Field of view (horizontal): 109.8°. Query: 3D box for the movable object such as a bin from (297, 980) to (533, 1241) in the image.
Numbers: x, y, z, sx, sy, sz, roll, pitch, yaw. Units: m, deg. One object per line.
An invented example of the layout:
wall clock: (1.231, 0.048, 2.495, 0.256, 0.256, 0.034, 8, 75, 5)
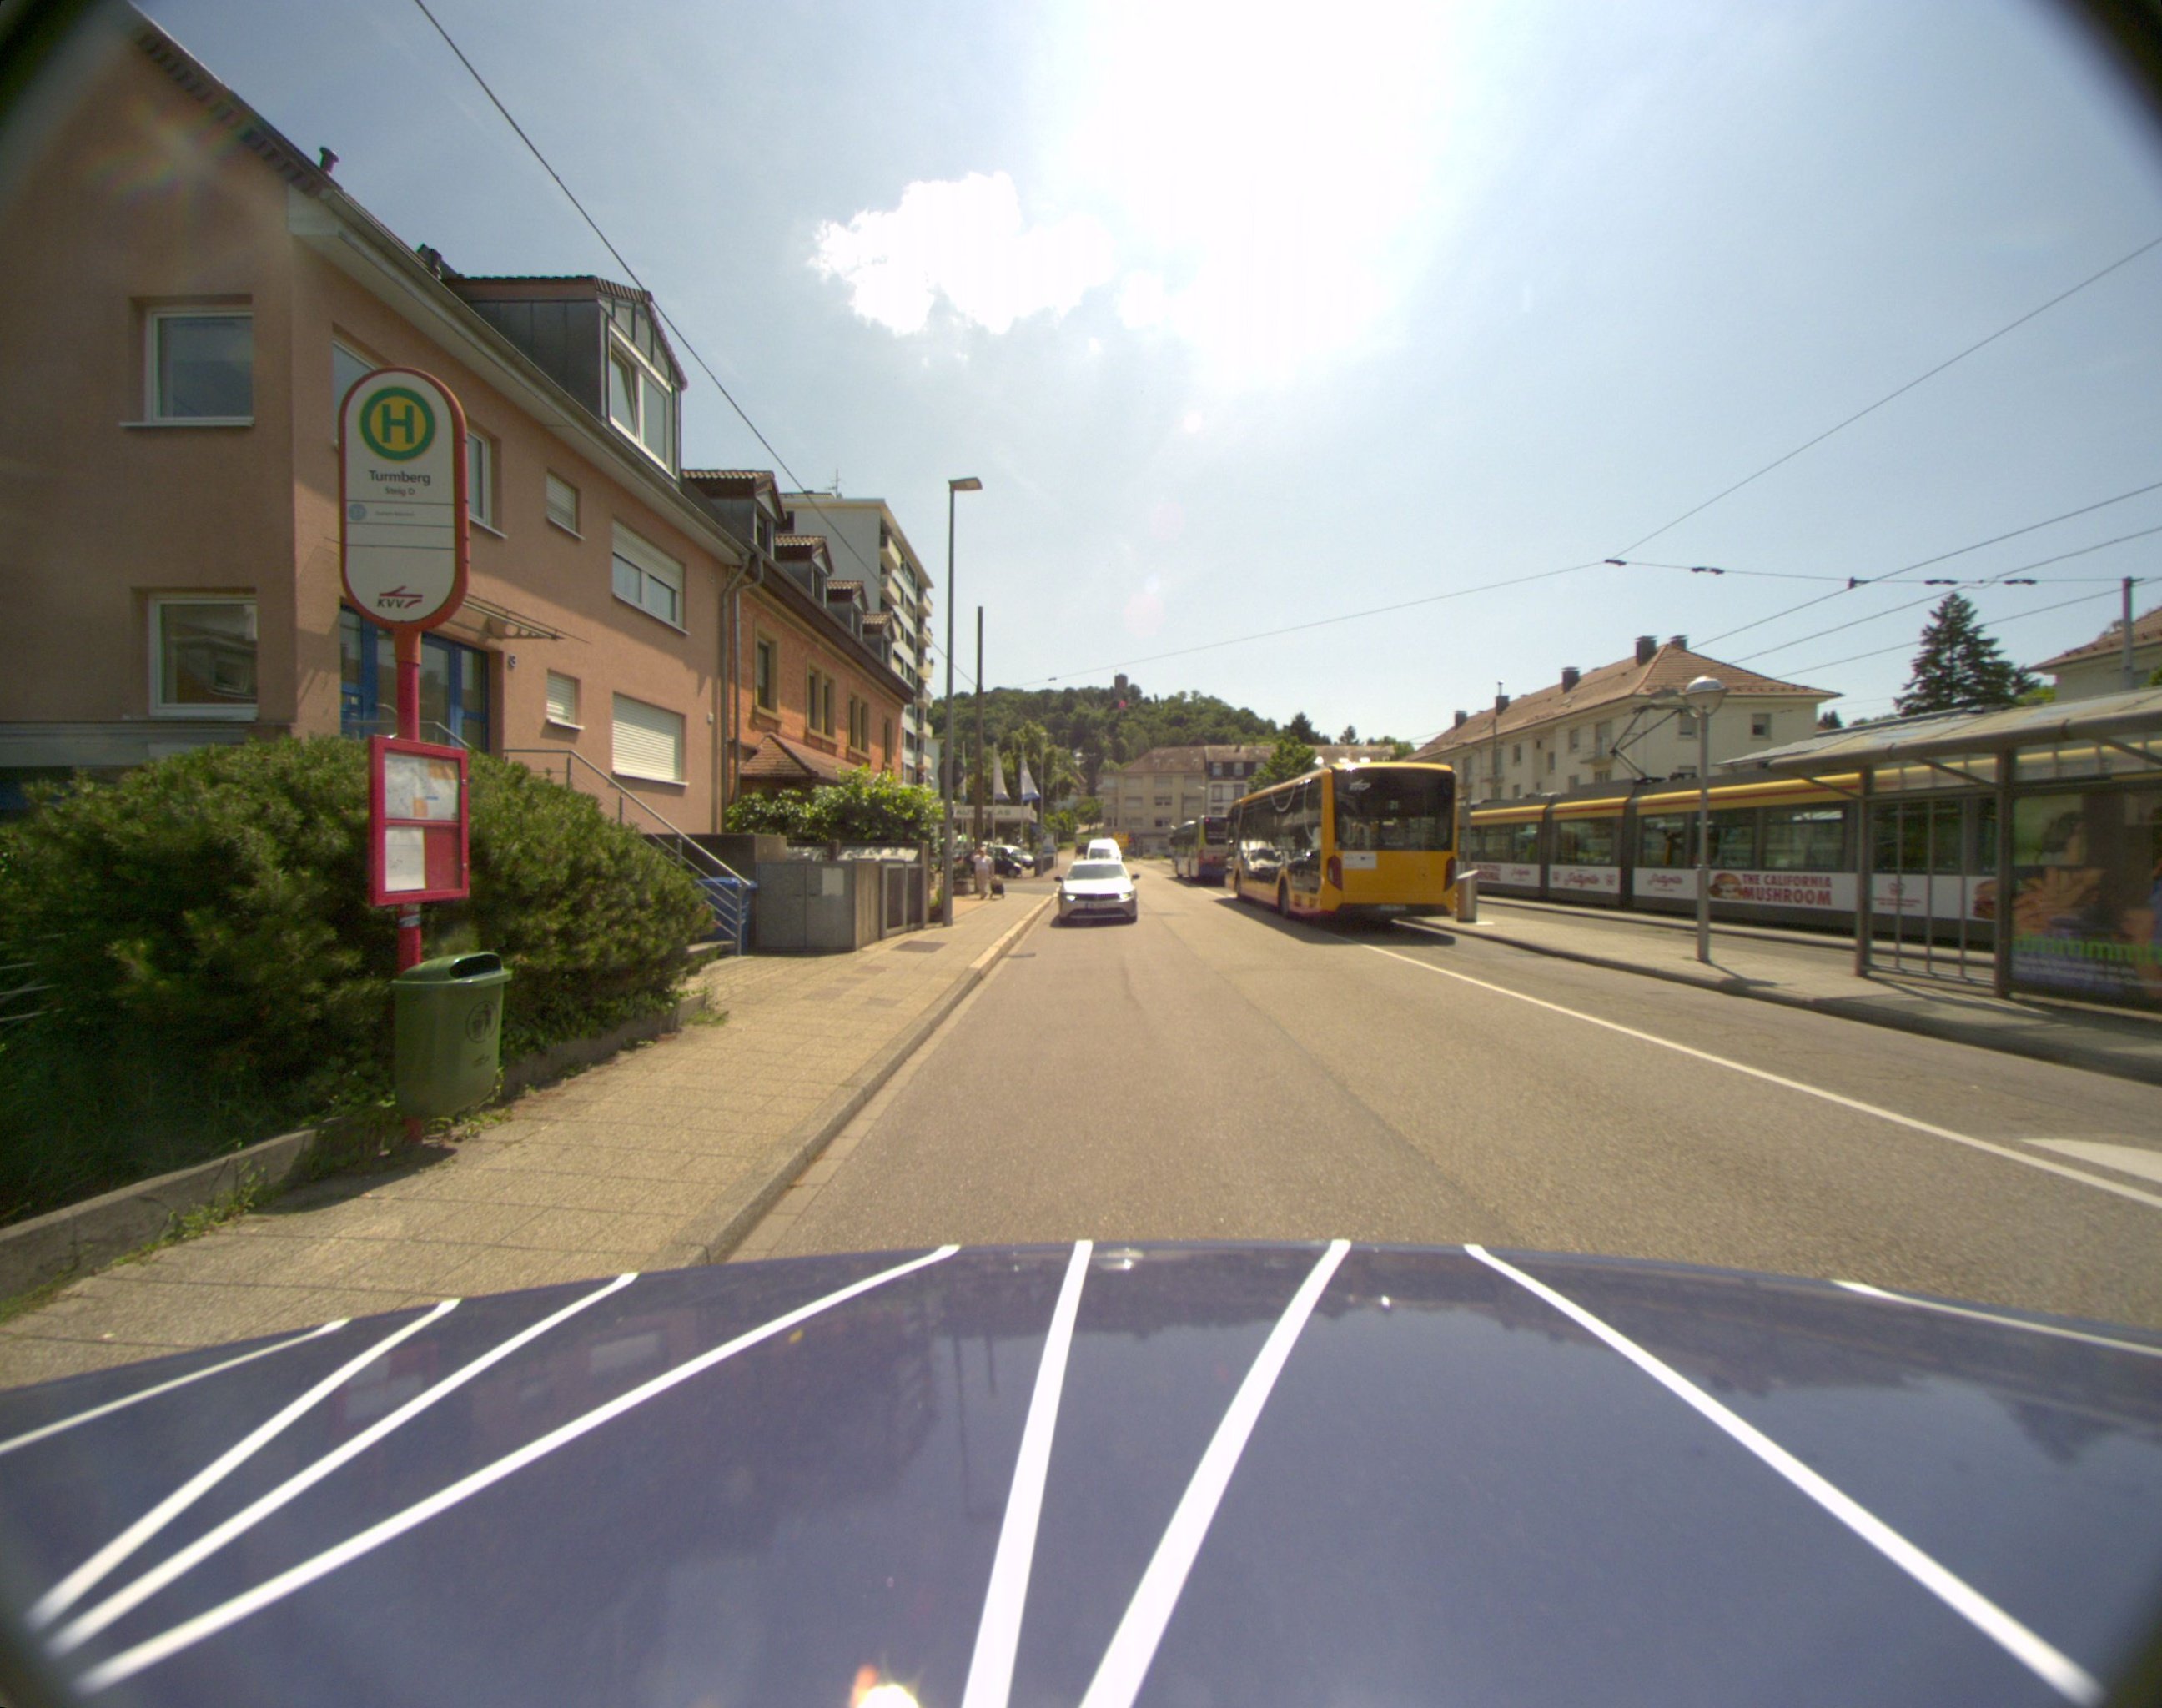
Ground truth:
movable object such as a bin: (-2.930, 1.091, 3.405, 0.407, 0.902, 0.729, 3, 2, -2)

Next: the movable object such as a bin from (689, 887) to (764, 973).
movable object such as a bin: (-4.681, 0.985, 10.064, 0.623, 1.039, 0.667, -2, 2, 0)

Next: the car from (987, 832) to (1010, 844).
car: (-14.689, -2.878, 135.434, 2.398, 2.002, 5.384, -1, 2, 12)

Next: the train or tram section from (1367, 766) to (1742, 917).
train or tram section: (14.973, -0.422, 27.447, 2.970, 3.622, 17.350, -2, 1, 1)

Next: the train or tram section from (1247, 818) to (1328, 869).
train or tram section: (15.738, -0.834, 59.162, 2.970, 3.475, 12.711, -2, 1, 1)

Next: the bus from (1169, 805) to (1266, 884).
bus: (6.727, -0.417, 39.464, 2.915, 3.407, 12.040, -2, 0, 1)

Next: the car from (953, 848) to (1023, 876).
car: (-5.420, 0.437, 43.890, 3.890, 1.534, 1.840, 0, 2, -11)

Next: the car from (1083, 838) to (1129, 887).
car: (1.221, 0.369, 39.928, 1.999, 2.259, 5.442, -2, 2, -2)

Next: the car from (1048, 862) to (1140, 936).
car: (0.430, 0.953, 17.765, 1.817, 1.371, 4.392, -1, 1, 5)

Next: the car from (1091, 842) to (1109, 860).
car: (2.150, -0.382, 85.597, 1.708, 1.840, 4.710, -2, 2, -2)

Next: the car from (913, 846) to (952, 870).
car: (-10.756, 0.244, 55.263, 1.750, 1.617, 4.705, 0, 1, 2)

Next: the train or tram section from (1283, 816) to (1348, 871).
train or tram section: (15.551, -0.706, 50.674, 2.970, 3.475, 4.417, 1, 1, 1)

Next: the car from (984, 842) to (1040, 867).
car: (-5.392, 0.029, 59.008, 4.277, 1.780, 1.826, 0, 3, 41)

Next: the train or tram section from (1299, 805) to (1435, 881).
train or tram section: (15.330, -0.605, 42.271, 2.970, 3.475, 12.655, -2, 1, 1)

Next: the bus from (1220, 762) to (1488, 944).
bus: (6.075, -0.194, 19.885, 2.905, 3.229, 12.193, -2, 2, 2)

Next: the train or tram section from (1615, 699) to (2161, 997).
train or tram section: (14.667, -0.152, 11.891, 2.970, 3.622, 13.992, -2, 1, 1)

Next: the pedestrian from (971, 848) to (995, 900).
pedestrian: (-3.138, 0.630, 24.366, 0.707, 1.631, 0.659, 1, 0, -8)
